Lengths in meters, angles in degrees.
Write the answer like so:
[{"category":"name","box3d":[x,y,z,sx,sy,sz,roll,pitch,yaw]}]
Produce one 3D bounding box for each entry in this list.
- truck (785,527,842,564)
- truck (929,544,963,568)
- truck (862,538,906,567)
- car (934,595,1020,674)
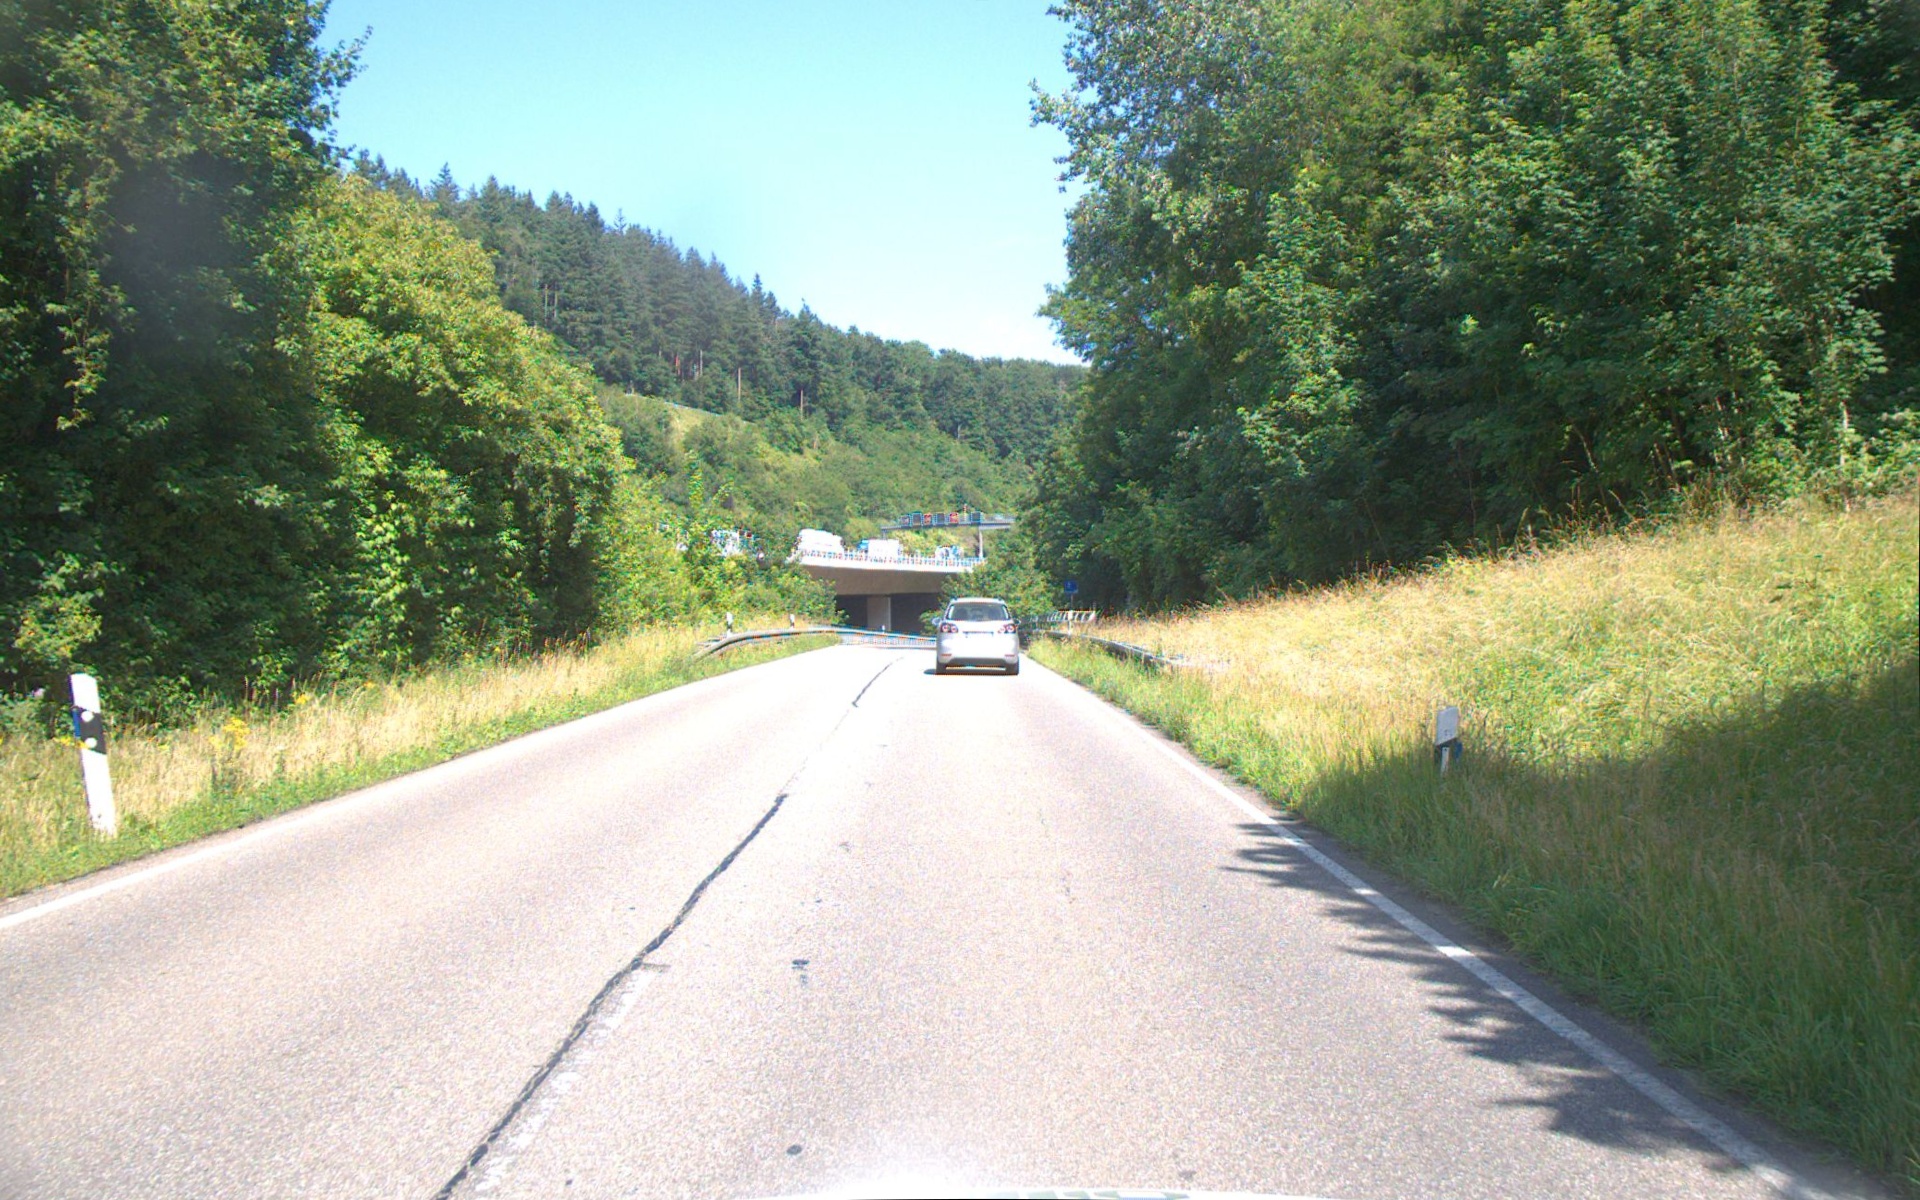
[{"category":"truck","box3d":[-14.740,-5.460,167.288,3.298,3.413,10.184,1,0,9]},{"category":"truck","box3d":[-2.140,-6.730,254.158,3.465,3.483,9.907,0,0,10]},{"category":"truck","box3d":[-9.549,-5.996,209.701,3.679,3.444,10.516,0,0,9]},{"category":"car","box3d":[0.360,0.718,34.937,1.715,1.546,4.159,0,-1,0]}]
